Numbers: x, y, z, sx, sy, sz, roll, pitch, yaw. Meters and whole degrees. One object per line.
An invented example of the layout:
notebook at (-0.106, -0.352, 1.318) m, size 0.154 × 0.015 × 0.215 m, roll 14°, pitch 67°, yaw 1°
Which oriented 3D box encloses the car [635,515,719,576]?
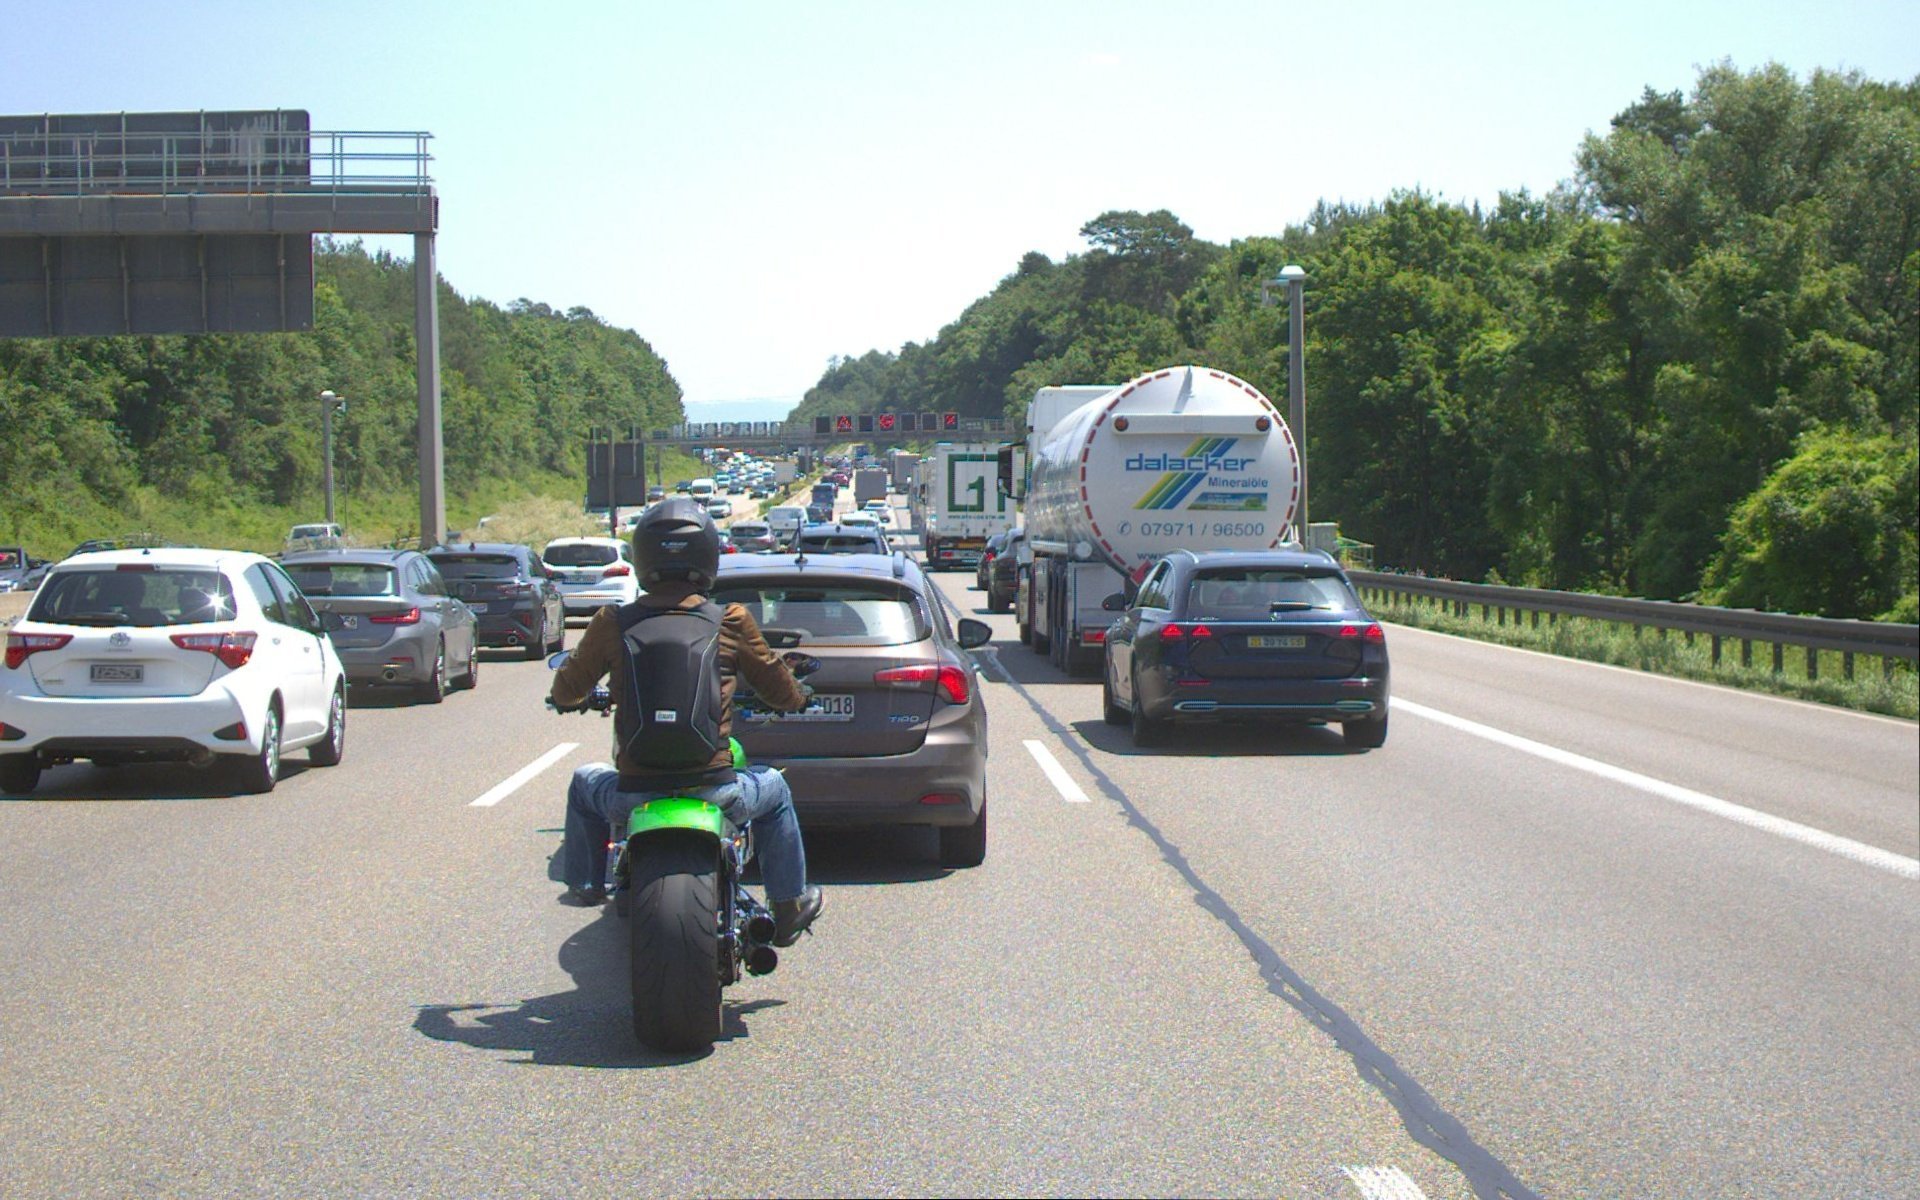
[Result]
car at (-6.893, -1.317, 84.094) m, size 1.764 × 1.437 × 4.000 m, roll 0°, pitch 0°, yaw -1°

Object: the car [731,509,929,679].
car at (-1.388, -0.061, 36.807) m, size 1.993 × 1.705 × 4.000 m, roll 0°, pitch 0°, yaw -2°

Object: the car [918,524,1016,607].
car at (0.105, -0.634, 65.542) m, size 1.776 × 1.522 × 4.000 m, roll 0°, pitch 0°, yaw -1°

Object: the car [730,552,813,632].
car at (-4.804, -0.205, 87.997) m, size 1.993 × 2.007 × 4.000 m, roll 0°, pitch 0°, yaw -1°

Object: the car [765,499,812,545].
car at (-7.754, -3.531, 155.931) m, size 1.993 × 2.007 × 4.000 m, roll -1°, pitch 1°, yaw -1°

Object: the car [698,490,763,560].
car at (-6.643, -2.164, 99.875) m, size 1.660 × 1.971 × 4.000 m, roll 0°, pitch 0°, yaw -1°

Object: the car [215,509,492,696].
car at (-5.765, 0.020, 33.170) m, size 1.993 × 1.678 × 4.330 m, roll 0°, pitch 0°, yaw -1°

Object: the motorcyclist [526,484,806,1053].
motorcyclist at (-0.894, 0.499, 10.693) m, size 0.799 × 1.682 × 1.016 m, roll 0°, pitch 0°, yaw -1°

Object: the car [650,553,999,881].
car at (-0.648, 0.493, 17.278) m, size 1.541 × 1.445 × 4.000 m, roll 0°, pitch 1°, yaw -1°

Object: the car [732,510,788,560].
car at (-6.518, -2.108, 112.388) m, size 1.660 × 1.594 × 4.000 m, roll 0°, pitch 1°, yaw -1°

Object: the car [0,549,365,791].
car at (-5.014, 0.407, 22.085) m, size 1.776 × 1.406 × 4.000 m, roll 0°, pitch 0°, yaw -1°

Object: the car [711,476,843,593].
car at (-2.851, -0.998, 54.225) m, size 1.993 × 1.769 × 4.000 m, roll 0°, pitch 0°, yaw -2°

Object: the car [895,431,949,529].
car at (-1.666, -5.108, 147.840) m, size 2.167 × 3.879 × 9.330 m, roll 0°, pitch 0°, yaw -1°

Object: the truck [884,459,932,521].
truck at (-3.064, -6.395, 201.032) m, size 2.696 × 3.394 × 10.479 m, roll -1°, pitch 1°, yaw -1°

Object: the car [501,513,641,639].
car at (-6.446, -0.392, 57.278) m, size 1.993 × 2.007 × 4.000 m, roll 0°, pitch 0°, yaw -2°

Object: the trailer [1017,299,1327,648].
trailer at (2.322, -1.340, 41.602) m, size 2.828 × 3.658 × 10.733 m, roll 0°, pitch 0°, yaw -1°

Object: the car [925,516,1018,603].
car at (0.258, -0.939, 82.049) m, size 1.993 × 2.007 × 4.000 m, roll 0°, pitch 0°, yaw -3°

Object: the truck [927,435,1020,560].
truck at (0.491, -3.260, 111.472) m, size 2.854 × 3.808 × 7.187 m, roll 0°, pitch 0°, yaw 1°

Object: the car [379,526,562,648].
car at (-6.129, -0.157, 43.444) m, size 1.993 × 1.459 × 4.000 m, roll 0°, pitch 0°, yaw -4°

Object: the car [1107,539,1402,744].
car at (2.199, 0.291, 26.830) m, size 1.792 × 1.453 × 4.624 m, roll 0°, pitch 0°, yaw -1°

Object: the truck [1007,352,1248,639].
truck at (2.188, -1.343, 47.178) m, size 2.828 × 3.658 × 6.430 m, roll 0°, pitch 0°, yaw -1°

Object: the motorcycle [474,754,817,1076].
motorcycle at (-0.951, 0.955, 11.015) m, size 0.936 × 0.790 × 2.299 m, roll 0°, pitch 1°, yaw -1°

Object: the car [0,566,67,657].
car at (-16.927, 0.181, 59.458) m, size 1.993 × 1.514 × 4.000 m, roll 0°, pitch 0°, yaw -1°

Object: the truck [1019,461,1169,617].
truck at (2.627, -1.234, 69.706) m, size 2.388 × 2.969 × 8.253 m, roll 0°, pitch 1°, yaw -2°
